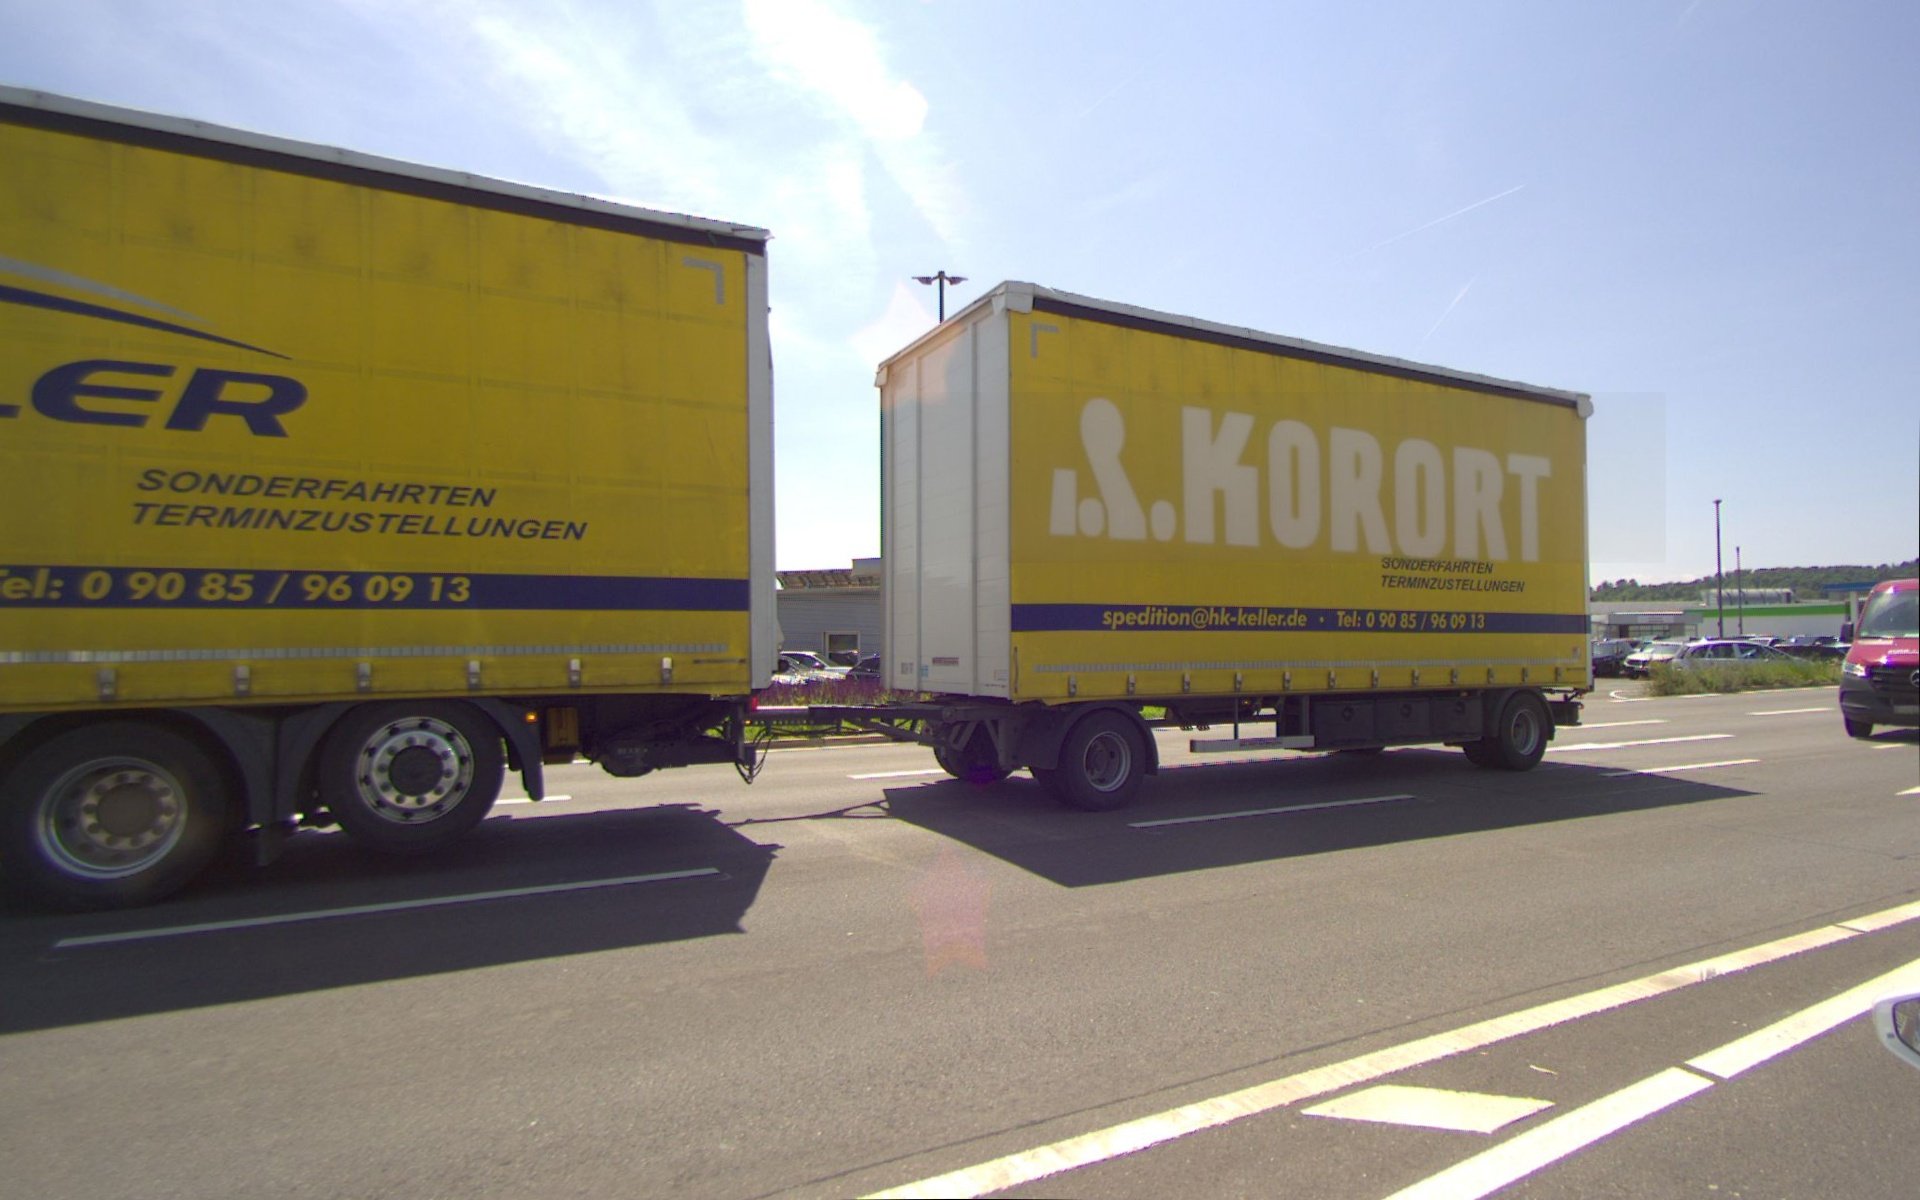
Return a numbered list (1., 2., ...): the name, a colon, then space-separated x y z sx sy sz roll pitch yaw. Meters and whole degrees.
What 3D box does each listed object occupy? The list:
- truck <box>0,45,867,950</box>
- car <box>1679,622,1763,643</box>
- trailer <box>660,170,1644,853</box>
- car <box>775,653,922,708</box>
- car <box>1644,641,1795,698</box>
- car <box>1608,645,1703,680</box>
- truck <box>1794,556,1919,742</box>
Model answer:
1. truck: -5.809 -0.438 5.537 10.226 4.158 3.017 1 -3 -29
2. car: 48.772 2.105 64.426 1.687 1.326 4.128 2 -3 -44
3. trailer: 2.409 -0.363 10.030 9.933 4.342 3.000 2 -3 -28
4. car: -3.133 2.277 28.862 3.920 1.483 2.001 -1 -3 3
5. car: 25.195 2.263 33.512 3.801 1.773 1.871 -2 -2 31
6. car: 32.402 2.877 46.779 4.406 1.483 1.984 1 -1 -30
7. truck: 15.494 0.729 15.411 6.801 2.477 2.381 2 -1 -34
